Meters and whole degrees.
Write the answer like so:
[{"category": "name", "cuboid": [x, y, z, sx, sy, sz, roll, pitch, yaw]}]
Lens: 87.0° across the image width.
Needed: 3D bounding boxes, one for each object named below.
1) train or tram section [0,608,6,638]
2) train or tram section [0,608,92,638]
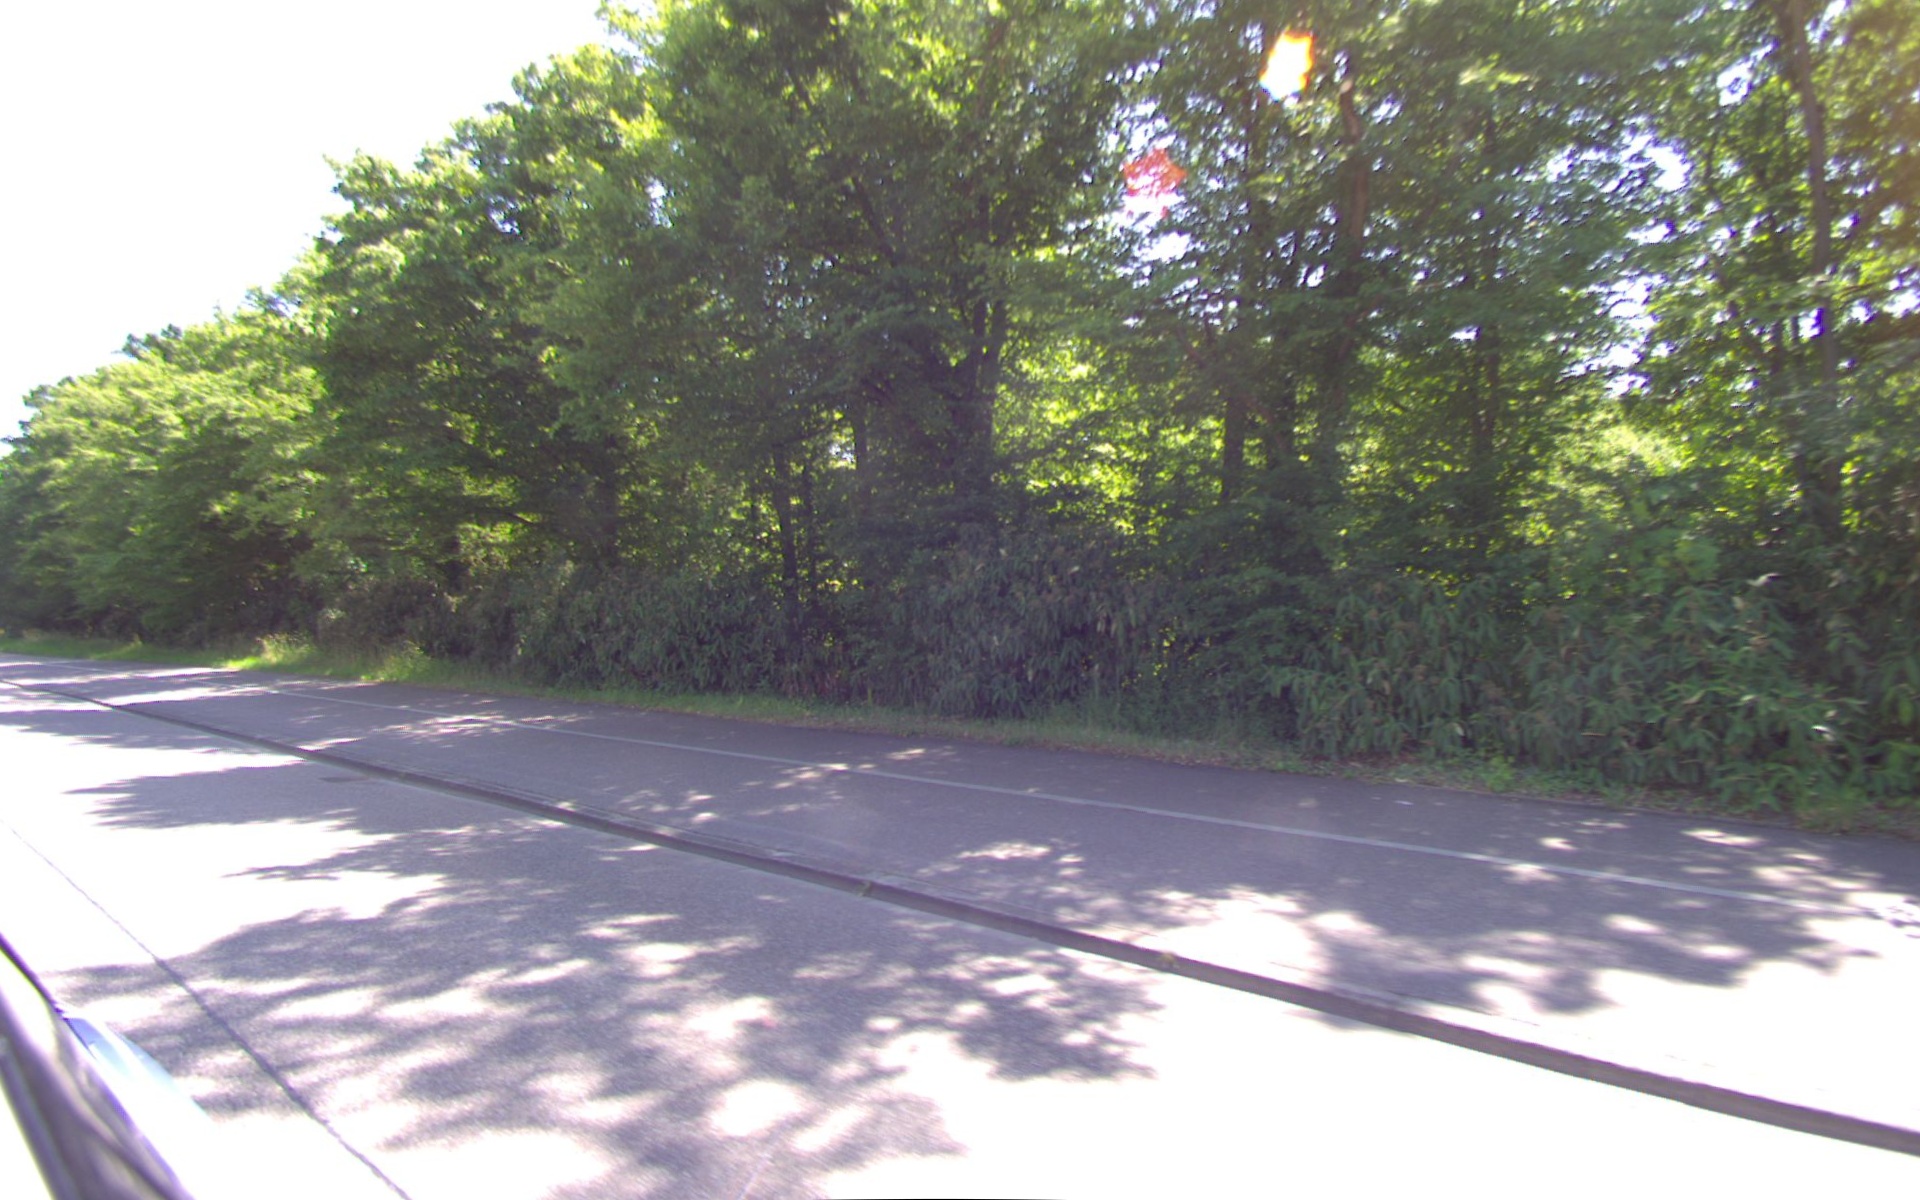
[{"category": "train or tram section", "cuboid": [-117.016, 2.748, 117.551, 10.720, 3.492, 2.646, -1, -1, 6]}, {"category": "train or tram section", "cuboid": [-108.061, 2.692, 118.552, 9.190, 3.492, 2.792, 0, -2, -20]}]
